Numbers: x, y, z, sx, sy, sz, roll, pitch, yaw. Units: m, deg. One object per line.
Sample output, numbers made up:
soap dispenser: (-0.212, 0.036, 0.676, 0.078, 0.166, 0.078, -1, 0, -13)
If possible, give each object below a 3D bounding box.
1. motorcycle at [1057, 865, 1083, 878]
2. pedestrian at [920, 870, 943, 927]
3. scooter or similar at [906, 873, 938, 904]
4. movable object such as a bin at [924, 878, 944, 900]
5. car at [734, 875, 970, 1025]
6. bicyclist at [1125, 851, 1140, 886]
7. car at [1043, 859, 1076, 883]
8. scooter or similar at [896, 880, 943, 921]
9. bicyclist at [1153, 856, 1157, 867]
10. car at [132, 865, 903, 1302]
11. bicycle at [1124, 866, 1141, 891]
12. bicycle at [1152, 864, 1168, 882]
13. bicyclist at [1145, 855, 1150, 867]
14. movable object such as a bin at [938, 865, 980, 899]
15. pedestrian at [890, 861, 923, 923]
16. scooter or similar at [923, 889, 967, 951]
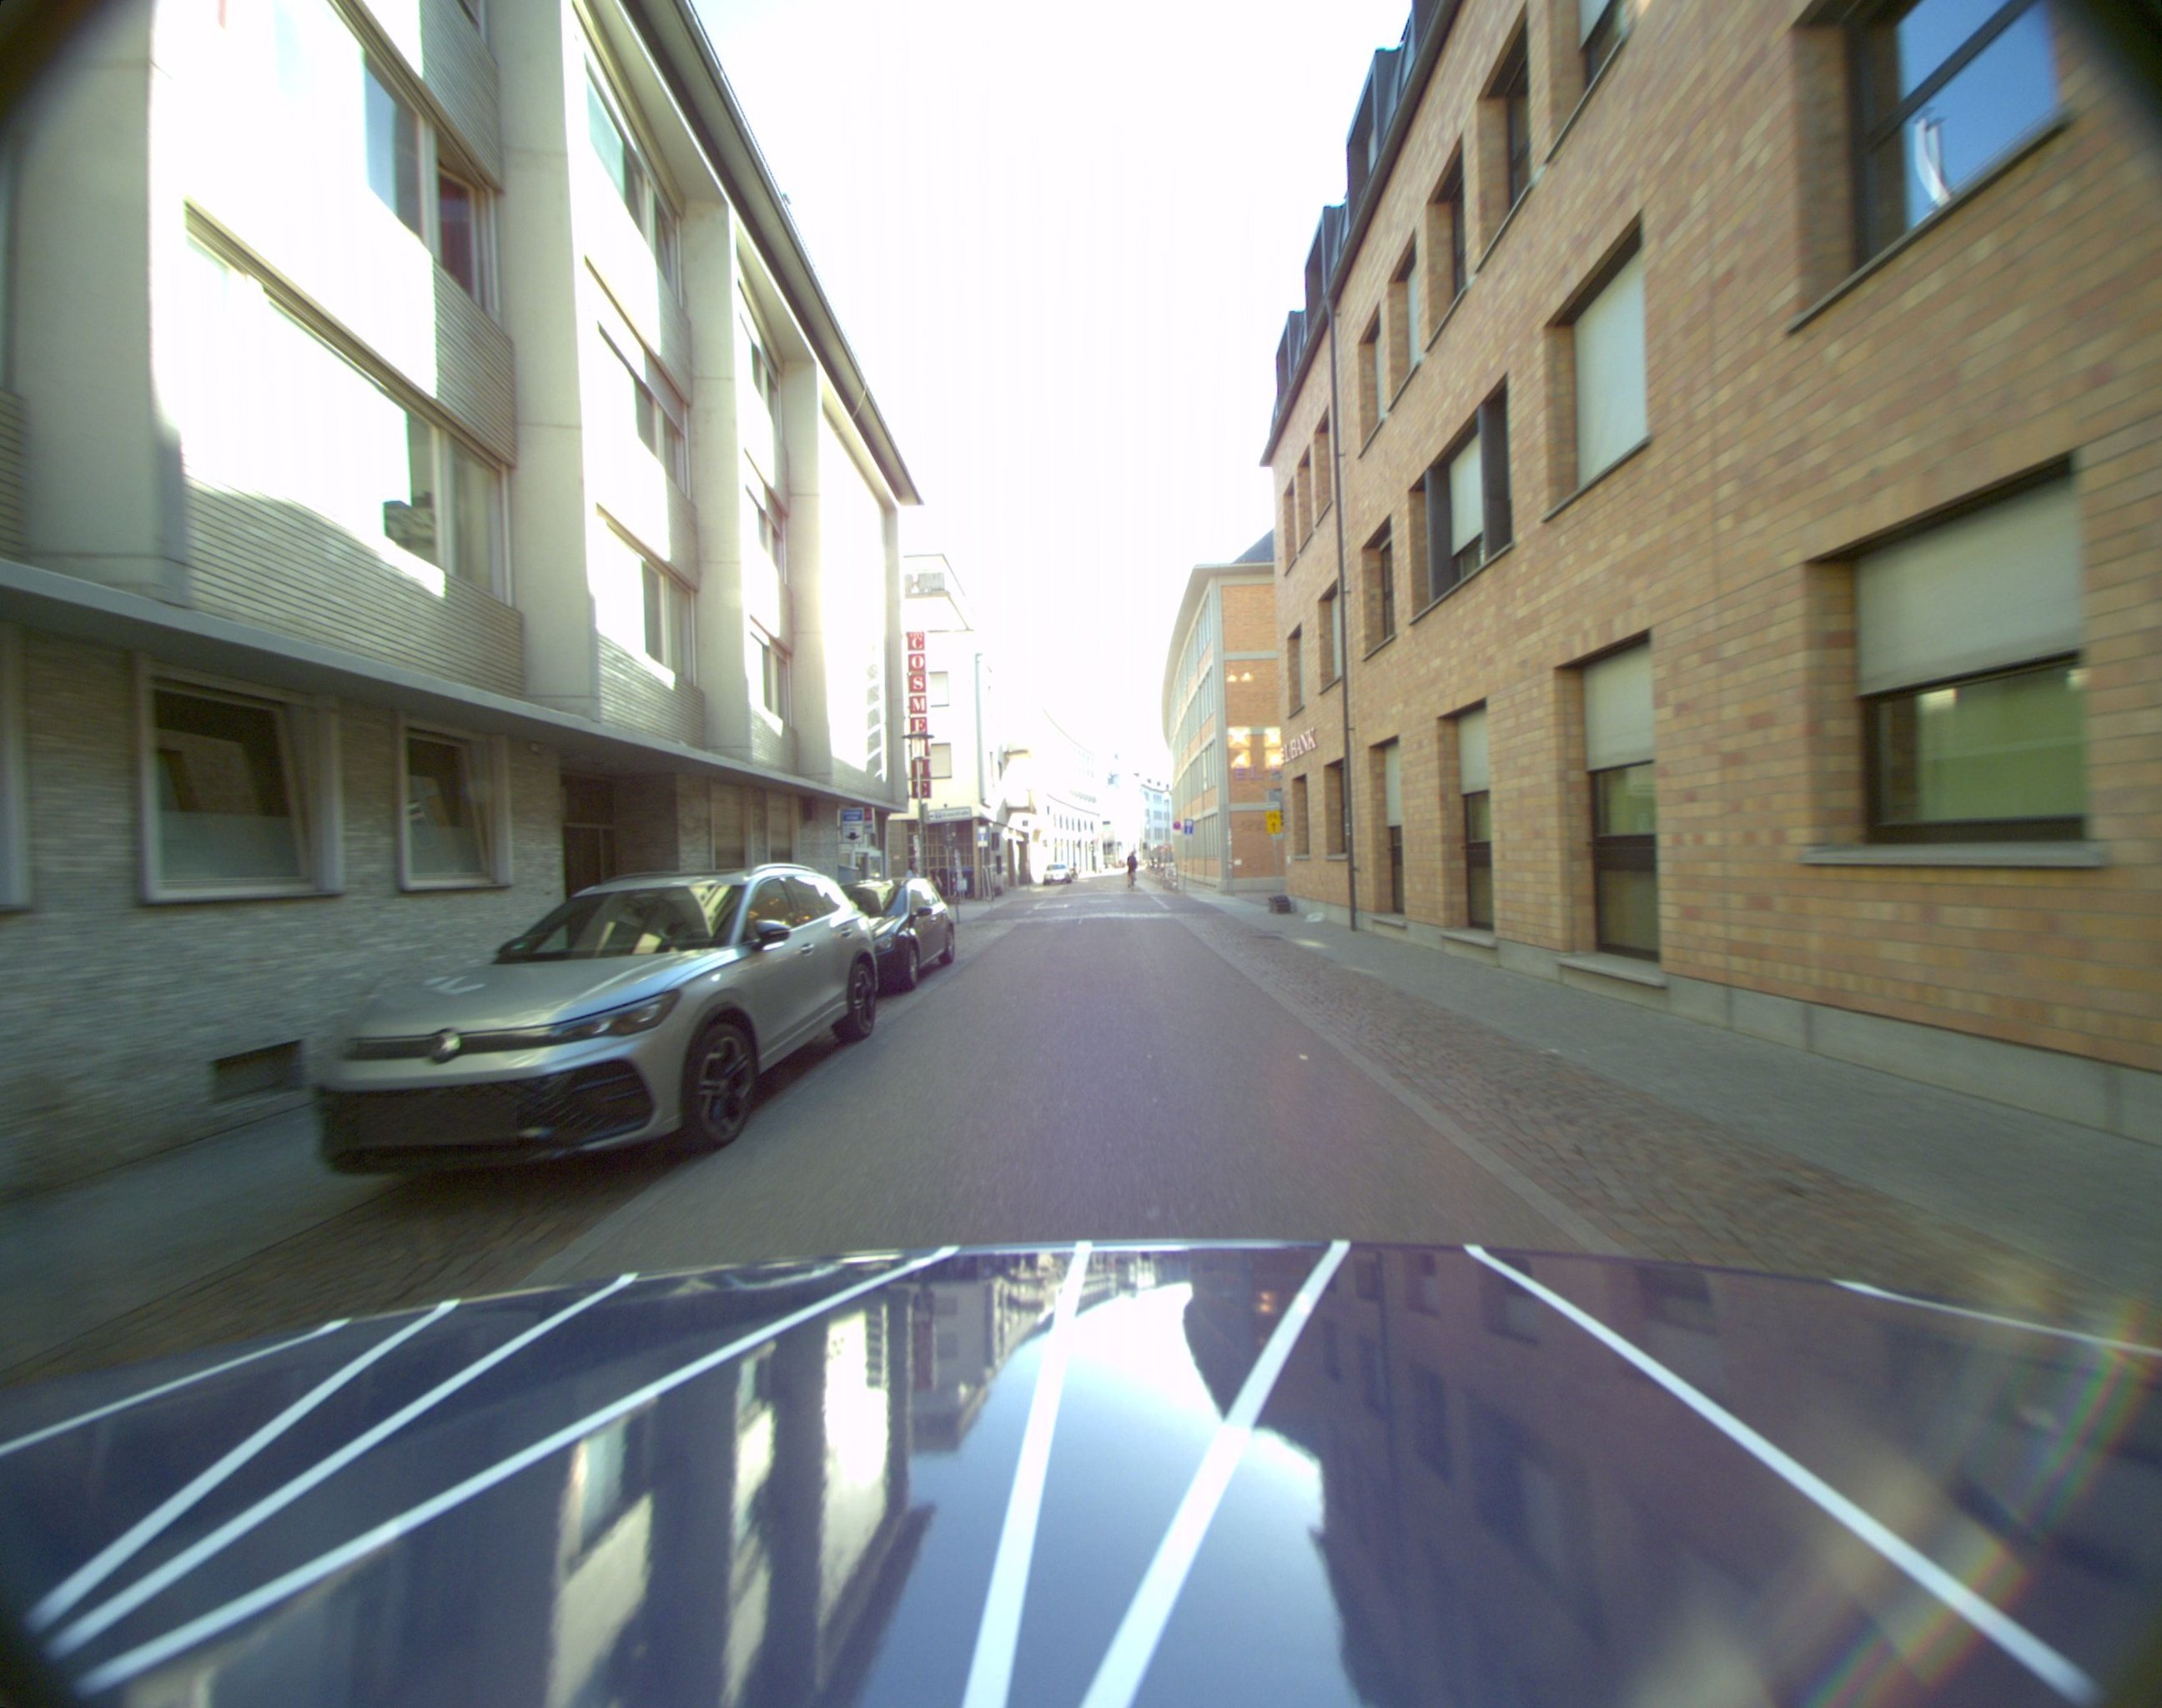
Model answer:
motorcycle: (-0.920, 1.425, 62.614, 1.995, 0.950, 0.646, -2, 0, 16)
pedestrian: (-4.123, 1.212, 20.916, 0.574, 1.532, 0.440, 0, 1, -15)
scooter or similar: (-6.626, 1.422, 31.695, 1.162, 1.216, 0.498, -2, 0, 0)
movable object such as a bin: (-6.511, 1.542, 33.608, 0.598, 0.921, 0.605, -2, 0, -40)
car: (-2.995, 1.180, 11.120, 1.827, 1.496, 4.600, -5, 0, 2)
bicyclist: (2.484, 0.698, 36.665, 0.664, 1.633, 0.925, 2, 1, 1)
car: (-1.423, 1.120, 51.498, 1.846, 1.453, 3.999, -3, 0, 3)
scooter or similar: (-4.815, 1.378, 22.652, 0.869, 1.169, 1.047, -2, -1, 44)
bicyclist: (10.082, 1.003, 103.424, 0.580, 1.565, 0.692, -2, 0, 7)
car: (-3.004, 1.034, 5.701, 1.998, 1.692, 4.843, -4, 0, 1)
bicycle: (2.471, 1.168, 36.564, 0.652, 1.125, 1.735, 2, 1, 0)
bicycle: (4.796, 1.151, 46.106, 0.628, 1.047, 1.822, -2, 0, -4)
bicyclist: (8.323, 0.894, 95.240, 0.472, 1.495, 0.795, -2, 0, 6)
movable object such as a bin: (-5.487, 1.232, 34.092, 1.437, 1.454, 1.126, -2, 0, -40)
pedestrian: (-4.970, 1.066, 21.602, 0.625, 1.726, 0.623, -2, 1, 45)
scooter or similar: (-2.859, 1.353, 15.913, 0.495, 1.187, 1.304, -2, 0, -27)
